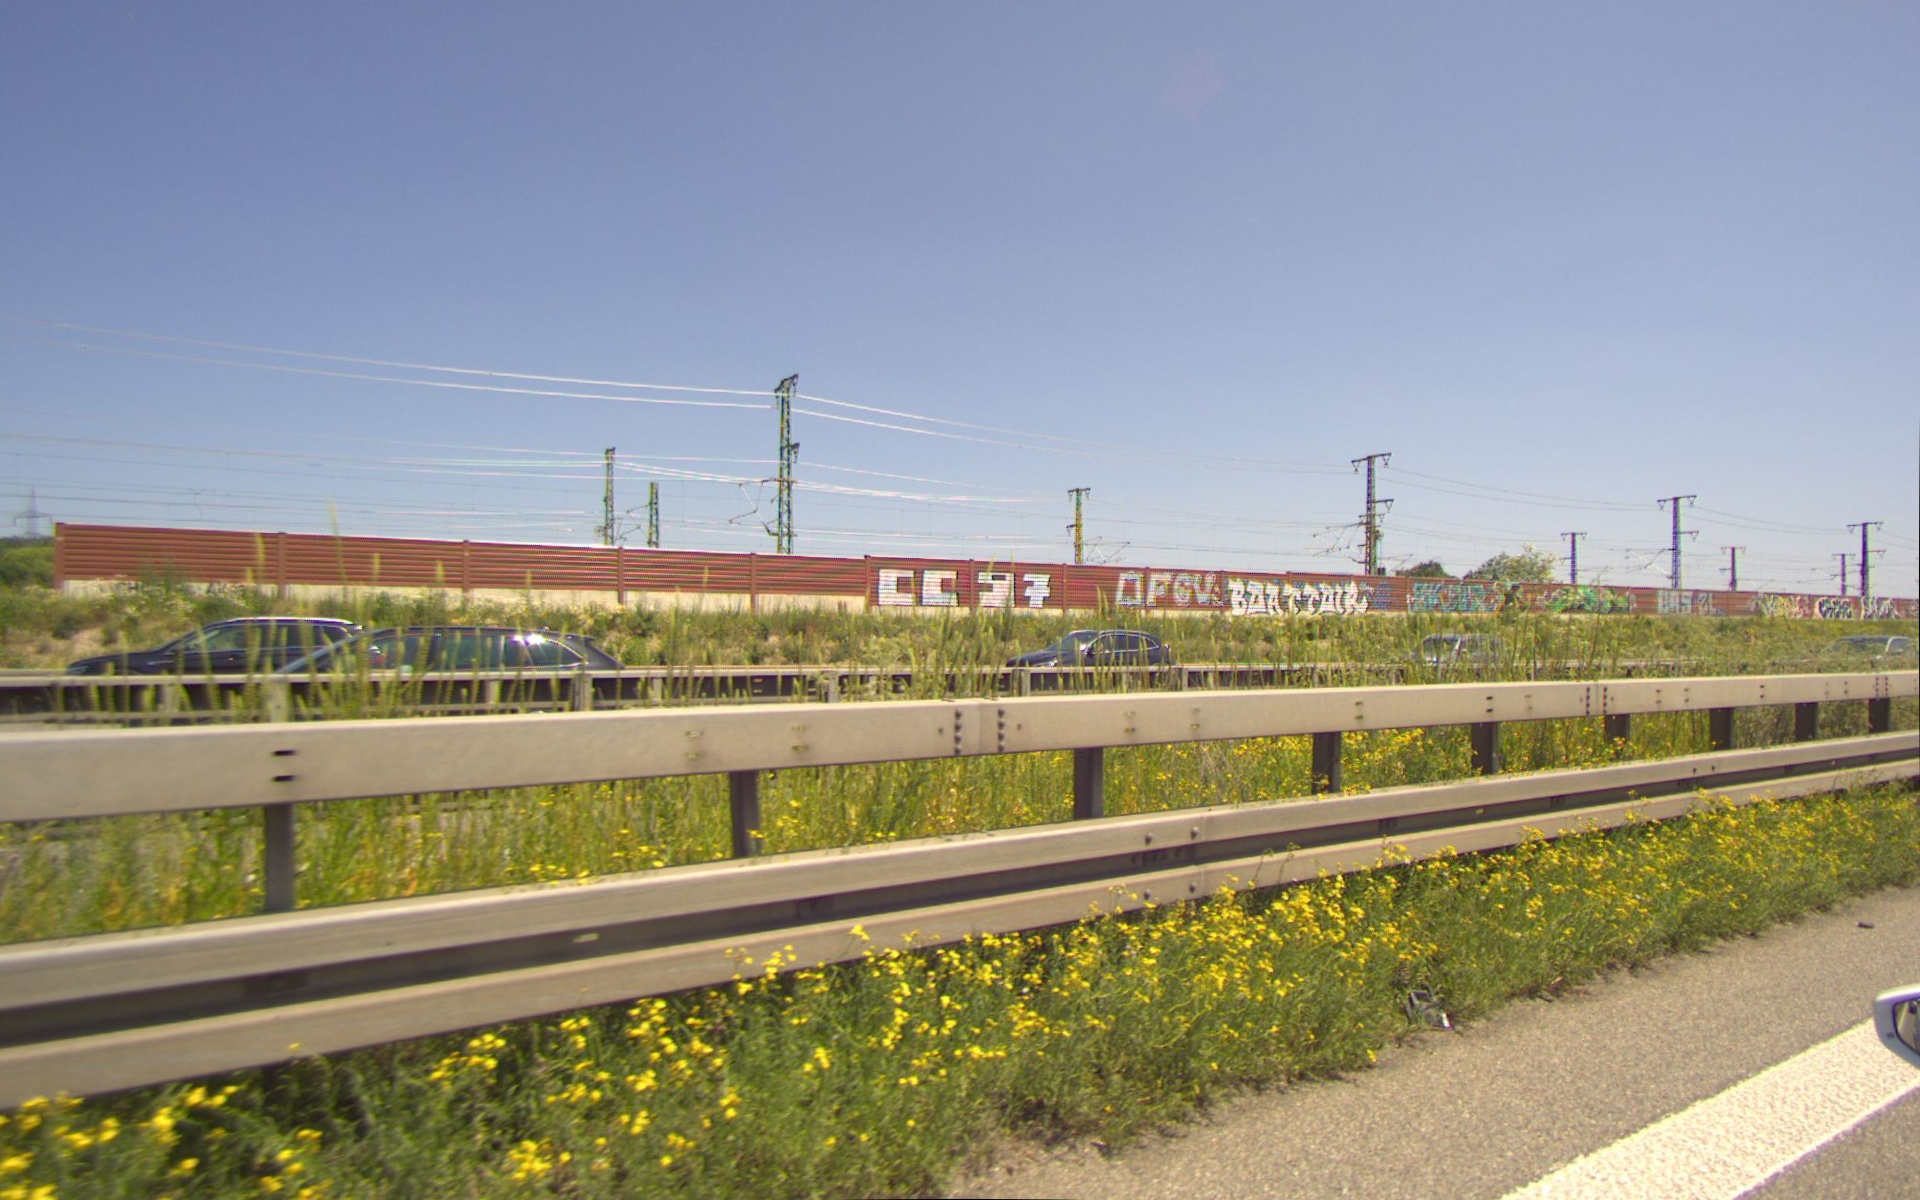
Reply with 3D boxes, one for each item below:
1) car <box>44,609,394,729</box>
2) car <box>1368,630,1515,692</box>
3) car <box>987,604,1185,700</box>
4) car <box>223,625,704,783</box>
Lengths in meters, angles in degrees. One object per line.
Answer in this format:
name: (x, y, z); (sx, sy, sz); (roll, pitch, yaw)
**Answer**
car: (-12.057, 1.078, 16.809); (4.459, 1.749, 1.984); (1, 0, -30)
car: (15.068, 1.862, 31.395); (4.460, 1.749, 1.984); (1, 0, -30)
car: (2.978, 1.206, 23.632); (4.259, 2.040, 1.984); (2, 0, -30)
car: (-5.322, 1.016, 11.160); (4.464, 1.413, 1.857); (1, -1, -33)
